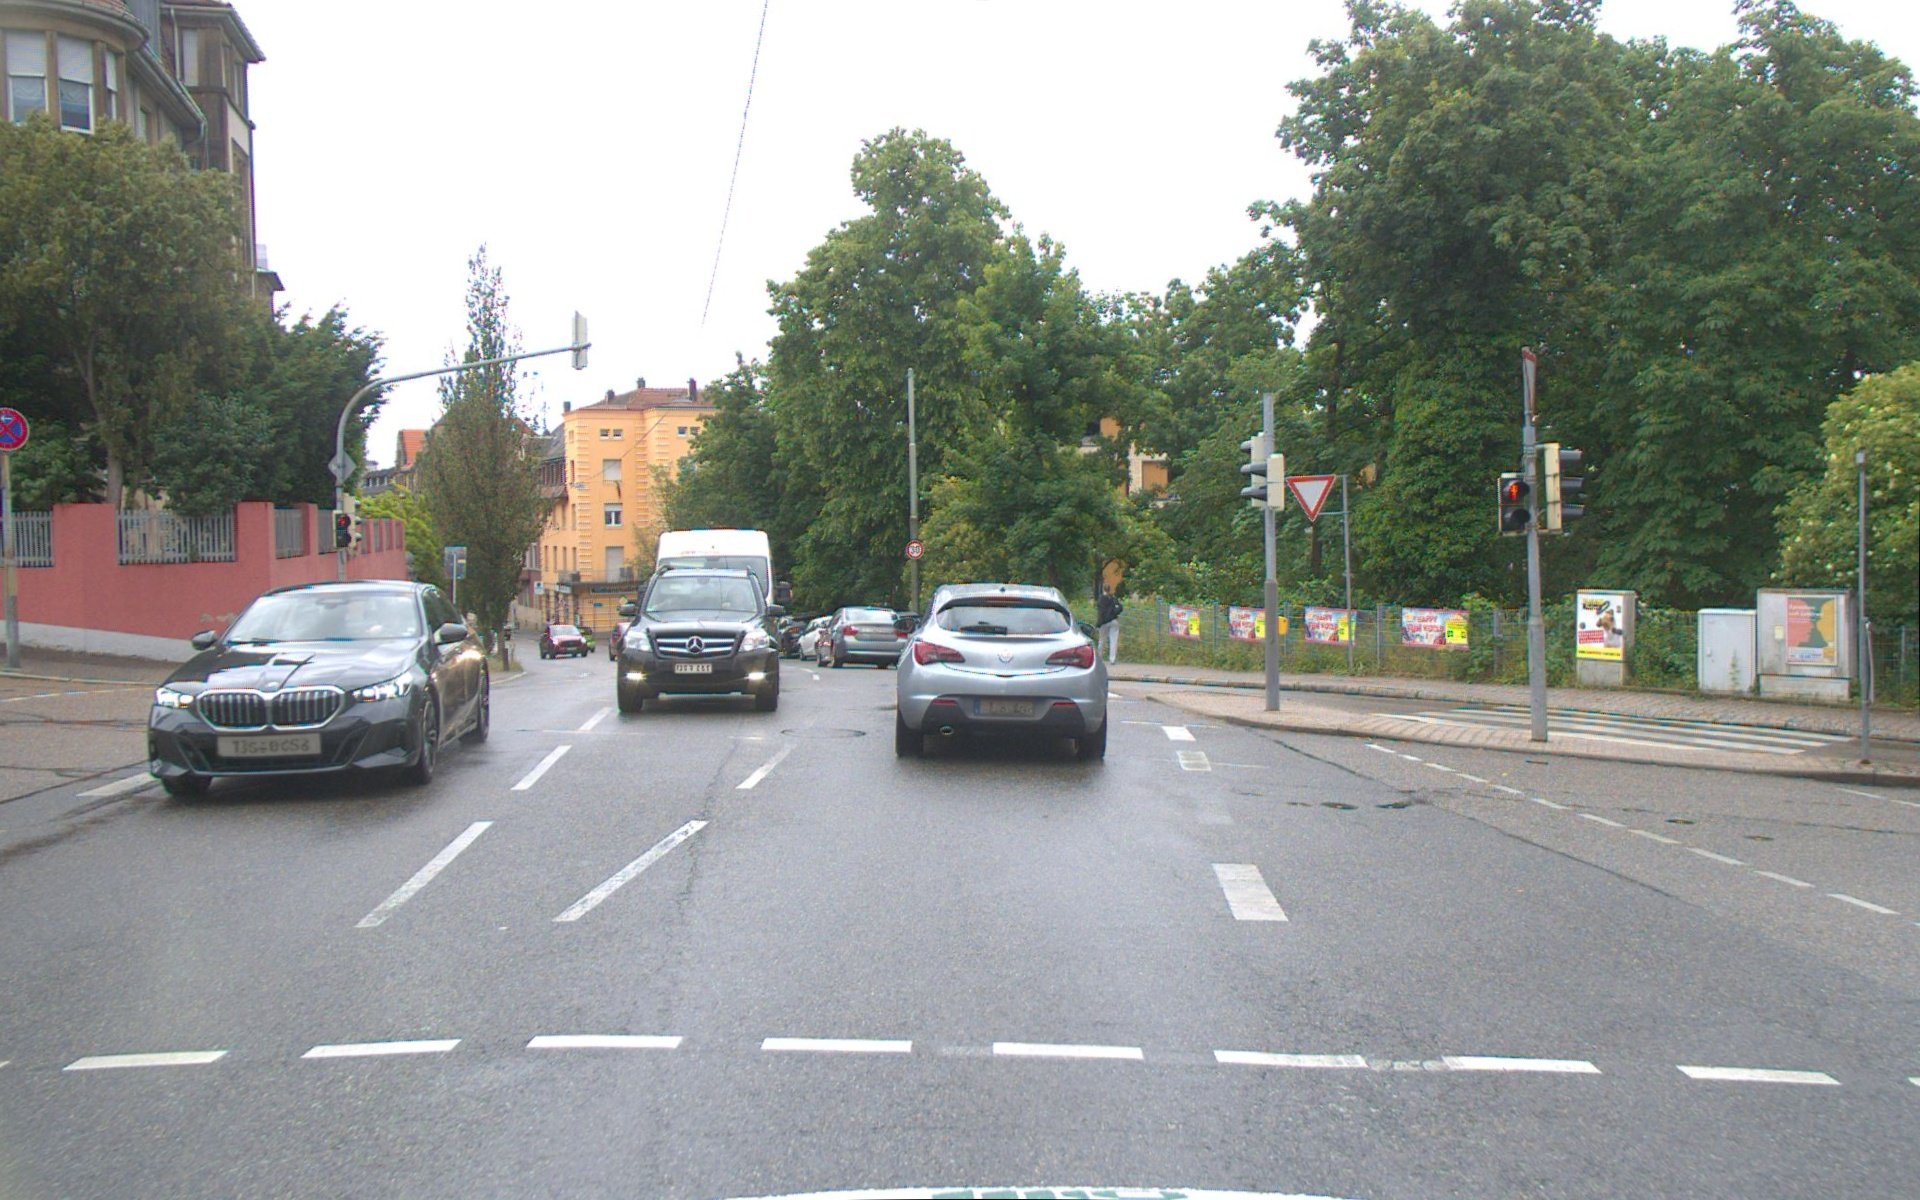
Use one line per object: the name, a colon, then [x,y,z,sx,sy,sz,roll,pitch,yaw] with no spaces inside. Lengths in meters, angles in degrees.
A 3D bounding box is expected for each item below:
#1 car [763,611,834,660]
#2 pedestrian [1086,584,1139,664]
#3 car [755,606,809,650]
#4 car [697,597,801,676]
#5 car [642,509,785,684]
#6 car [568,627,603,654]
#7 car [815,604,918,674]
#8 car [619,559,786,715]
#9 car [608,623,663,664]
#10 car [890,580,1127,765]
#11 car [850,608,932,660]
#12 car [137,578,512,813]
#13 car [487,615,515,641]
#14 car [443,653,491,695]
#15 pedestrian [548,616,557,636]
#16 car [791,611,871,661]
car: [-6.384,1.394,65.009,1.793,1.712,4.780,-4,0,-17]
pedestrian: [3.245,0.508,35.264,0.753,1.633,0.962,-4,-1,-13]
car: [-6.114,0.952,56.526,1.360,1.436,3.443,-1,-1,-14]
car: [-4.367,0.737,33.796,1.783,1.455,3.988,-2,-1,-12]
car: [-4.069,-0.012,27.828,2.077,2.590,5.530,-2,-1,-7]
car: [-22.343,2.418,98.639,1.616,1.563,3.695,-1,-1,-20]
car: [-2.205,0.919,38.163,1.745,1.455,3.773,-2,-2,-13]
car: [-3.037,0.392,20.139,1.786,1.681,4.340,0,0,-7]
car: [-13.091,1.739,66.576,1.816,1.612,4.259,0,-1,-17]
car: [0.315,0.575,15.311,1.779,1.455,3.997,-1,0,-4]
car: [-2.117,1.046,49.855,1.622,1.429,3.797,-3,-1,-15]
car: [-4.985,0.606,13.801,1.819,1.512,5.355,-2,1,-9]
car: [-35.222,2.141,126.793,1.756,1.887,3.976,-1,-2,-20]
car: [-20.026,2.980,67.228,1.786,1.641,3.981,0,-2,-16]
pedestrian: [-31.866,2.015,129.411,0.604,1.522,0.549,-1,2,-22]
car: [-4.677,1.321,59.633,1.789,1.520,3.977,-7,0,-19]
